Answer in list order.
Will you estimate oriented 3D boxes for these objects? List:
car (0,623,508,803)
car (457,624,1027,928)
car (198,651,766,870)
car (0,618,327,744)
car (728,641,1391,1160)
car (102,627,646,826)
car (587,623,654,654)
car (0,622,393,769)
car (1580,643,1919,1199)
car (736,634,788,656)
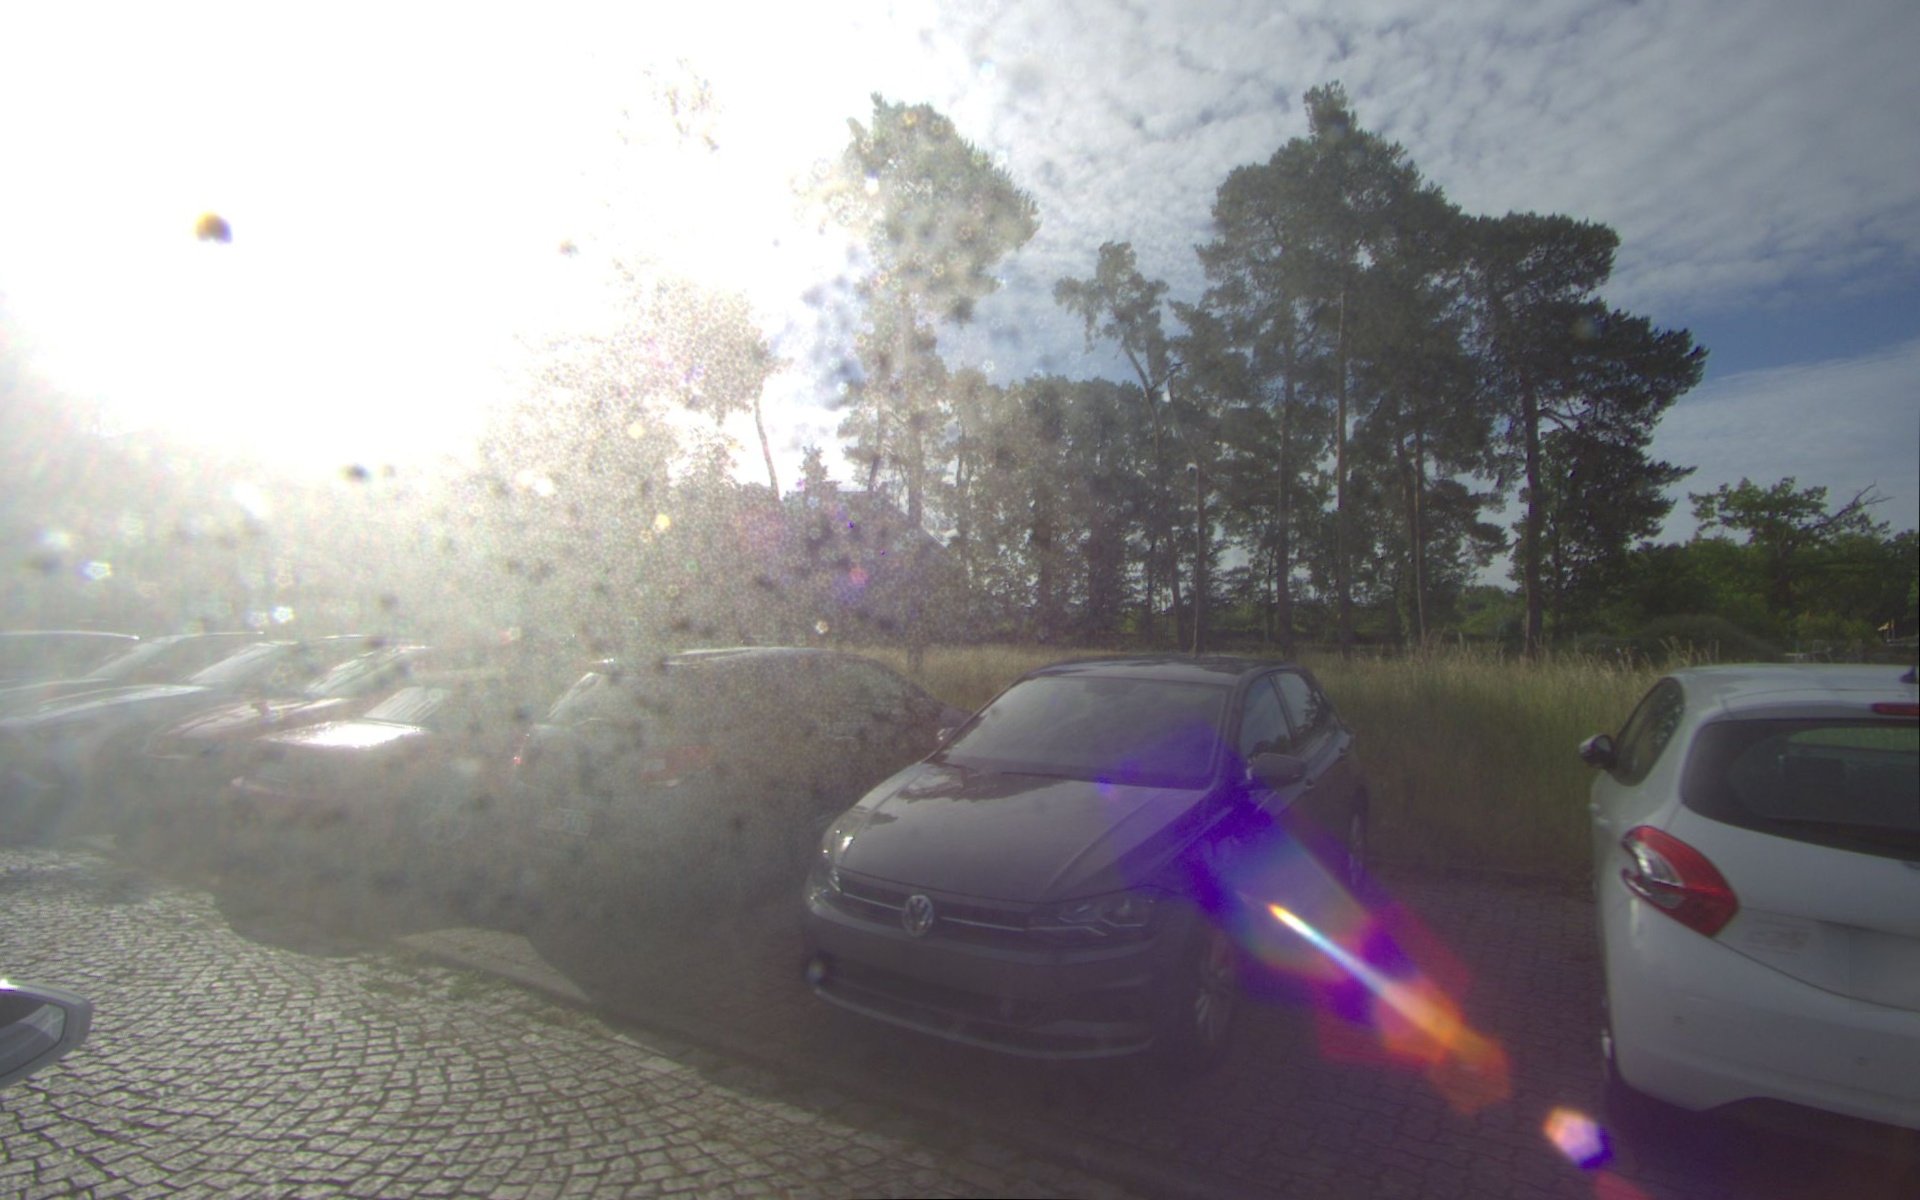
[{"bbox_3d":[-7.440,1.026,10.733,1.823,1.492,4.501,-1,-2,31],"label":"car"},{"bbox_3d":[-1.209,0.957,7.157,1.747,1.514,3.945,-1,-2,32],"label":"car"},{"bbox_3d":[-3.590,1.089,8.248,1.702,1.277,3.945,-1,-2,32],"label":"car"},{"bbox_3d":[-11.710,1.054,13.959,1.904,1.524,4.540,-1,-2,30],"label":"car"},{"bbox_3d":[0.897,0.960,5.078,1.804,1.486,3.945,-1,-2,32],"label":"car"},{"bbox_3d":[-5.369,1.035,9.830,1.714,1.492,4.335,-1,-2,31],"label":"car"},{"bbox_3d":[-29.059,3.337,85.791,2.232,2.567,5.150,-1,-3,33],"label":"car"},{"bbox_3d":[-9.702,1.044,12.283,1.866,1.492,4.505,-1,-2,28],"label":"car"},{"bbox_3d":[3.513,0.955,3.959,1.782,1.550,3.868,-1,-2,32],"label":"car"},{"bbox_3d":[-15.364,3.494,77.757,1.829,1.700,3.929,-1,-3,30],"label":"car"}]
